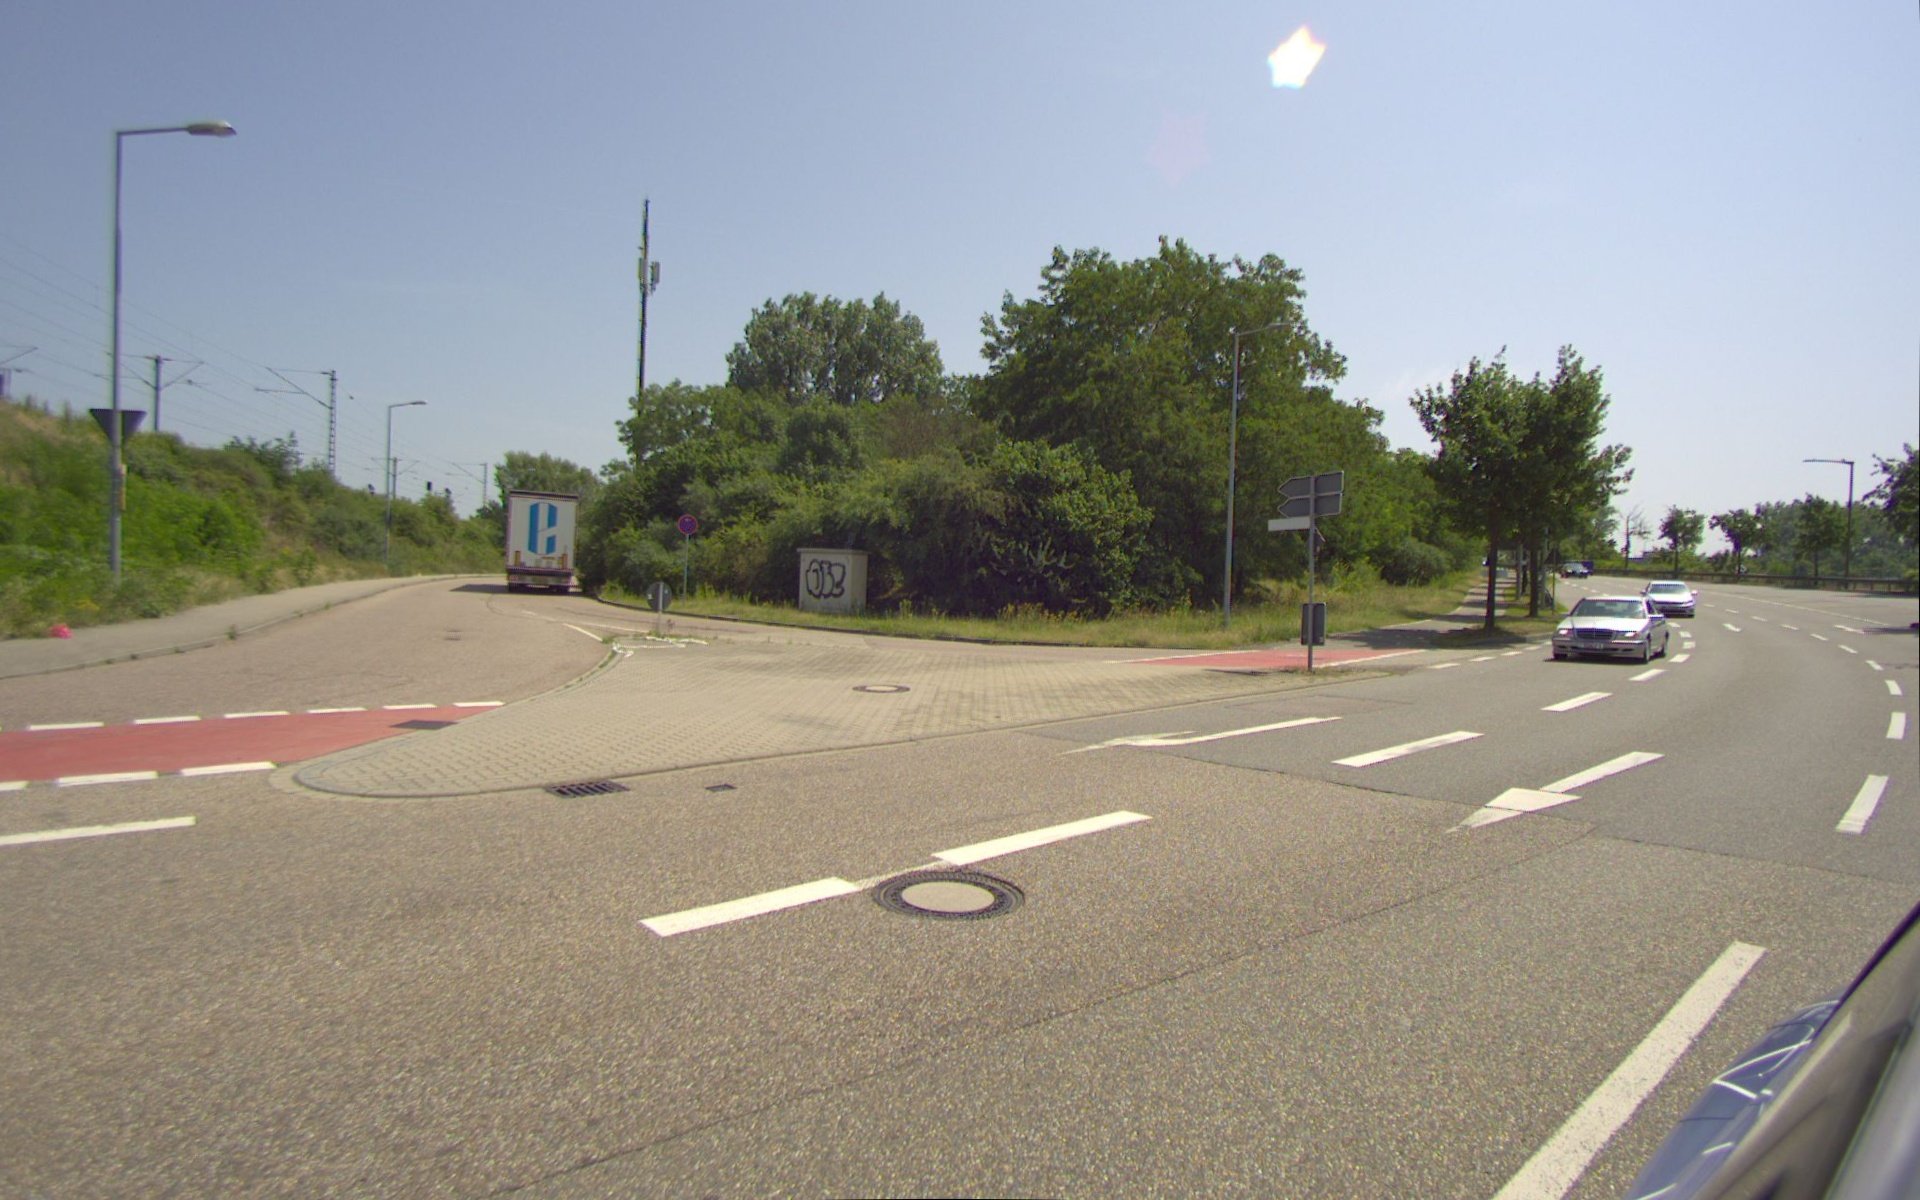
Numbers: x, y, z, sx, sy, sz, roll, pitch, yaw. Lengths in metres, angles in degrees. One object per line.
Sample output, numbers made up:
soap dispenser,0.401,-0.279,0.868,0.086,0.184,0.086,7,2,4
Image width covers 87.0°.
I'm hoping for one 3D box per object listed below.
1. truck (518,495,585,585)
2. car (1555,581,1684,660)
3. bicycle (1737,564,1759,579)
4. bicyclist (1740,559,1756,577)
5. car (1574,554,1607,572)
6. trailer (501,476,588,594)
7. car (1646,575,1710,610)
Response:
truck,-21.731,-3.153,54.084,3.021,4.422,6.093,2,2,-21
car,14.559,0.361,22.239,1.758,1.517,4.170,2,2,42
bicycle,67.733,-2.452,87.015,0.727,1.129,2.036,5,5,17
bicyclist,67.753,-2.764,87.013,0.722,1.482,0.819,6,4,18
car,68.041,-3.995,109.216,1.895,1.673,4.382,2,1,18
trailer,-18.753,-2.818,46.212,3.023,4.422,14.810,2,2,-21
car,30.230,-0.341,42.723,1.986,1.386,4.184,2,2,33
